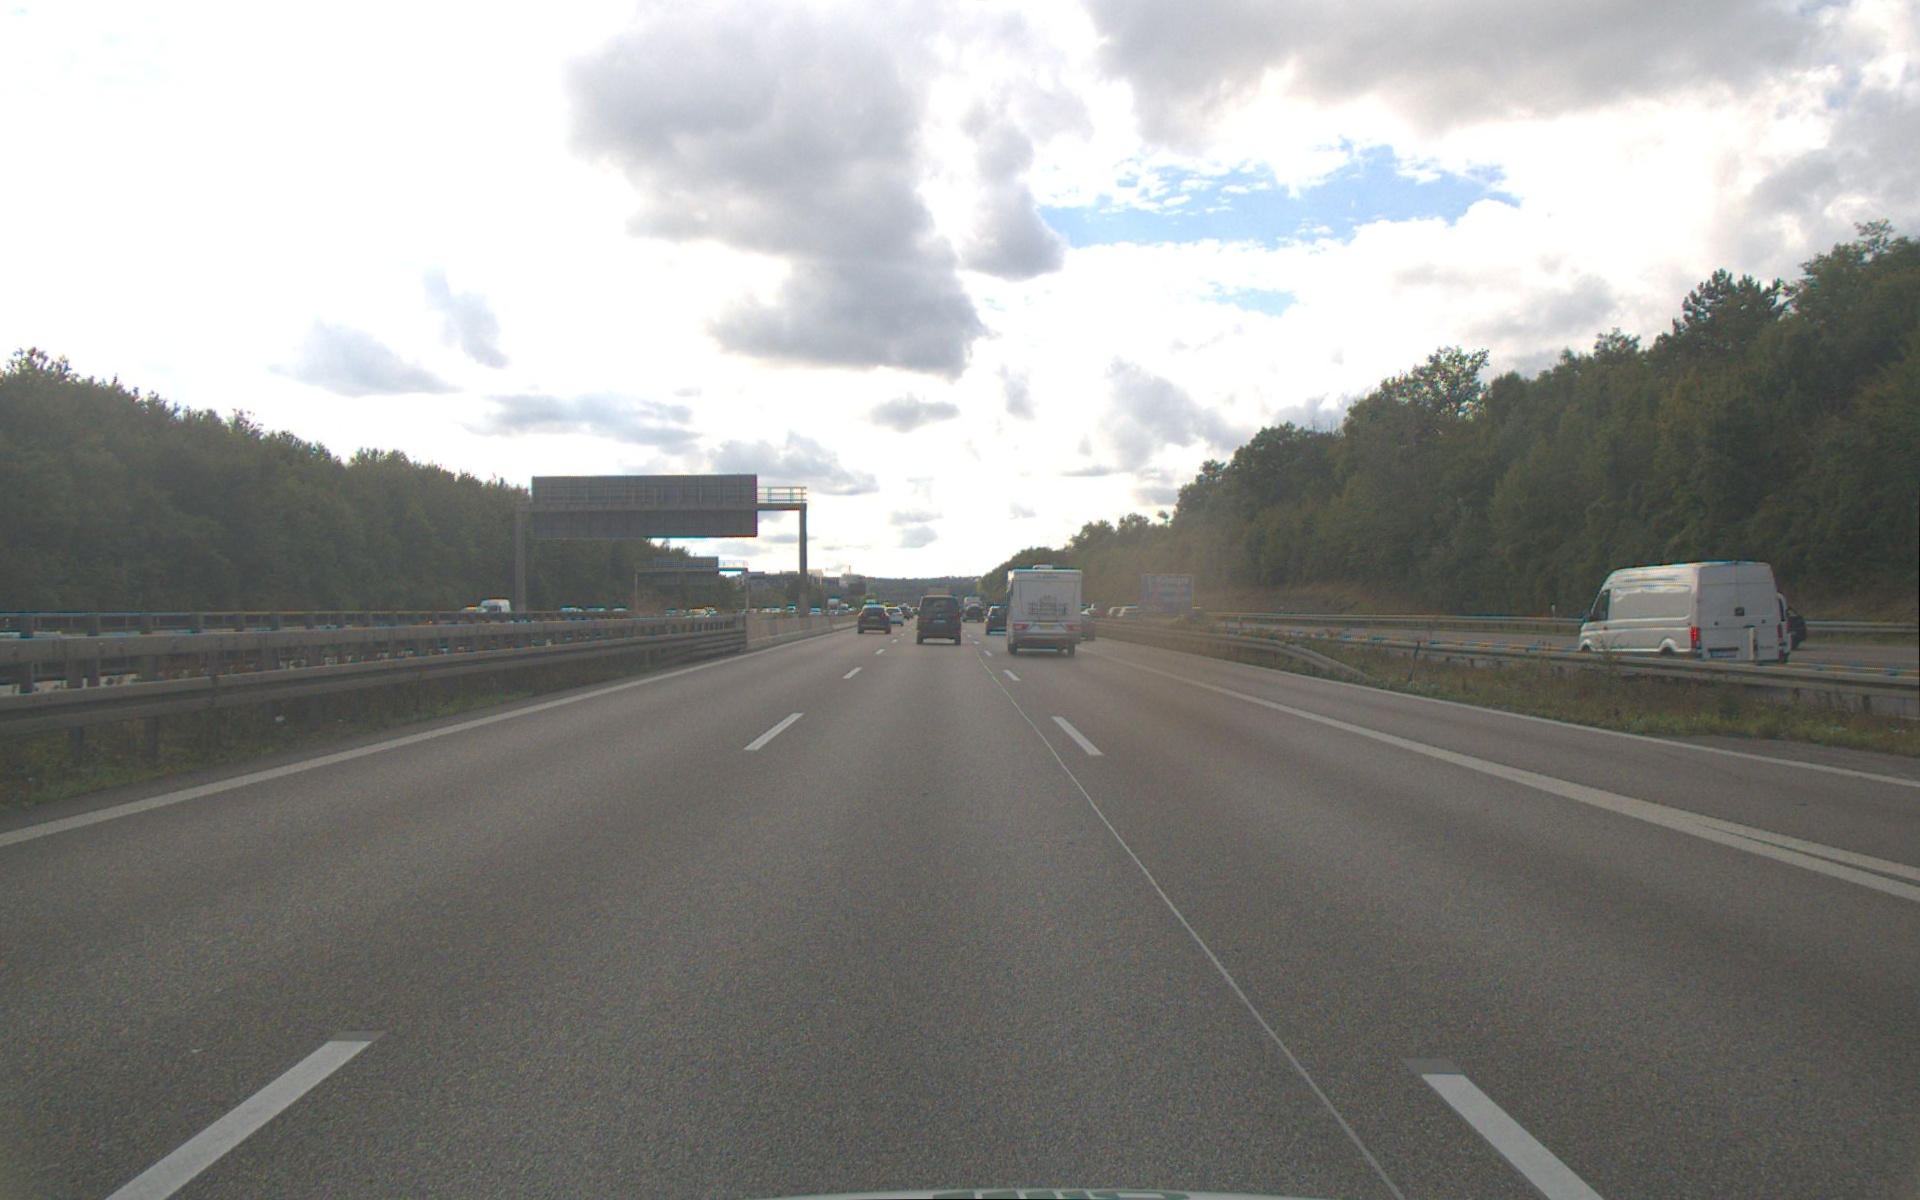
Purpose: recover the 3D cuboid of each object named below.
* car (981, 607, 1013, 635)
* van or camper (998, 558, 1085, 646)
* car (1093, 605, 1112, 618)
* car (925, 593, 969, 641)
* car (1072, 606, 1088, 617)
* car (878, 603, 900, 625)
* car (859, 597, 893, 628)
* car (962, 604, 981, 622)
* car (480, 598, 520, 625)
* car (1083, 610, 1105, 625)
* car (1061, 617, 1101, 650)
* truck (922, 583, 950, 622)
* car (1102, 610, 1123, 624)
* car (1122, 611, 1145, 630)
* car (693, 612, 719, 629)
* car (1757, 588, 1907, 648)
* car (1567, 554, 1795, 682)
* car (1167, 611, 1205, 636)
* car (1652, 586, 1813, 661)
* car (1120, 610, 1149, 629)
[{"bbox_3d":[2.154,1.211,97.187,1.663,1.592,4.112,0,0,-2],"label":"car"},{"bbox_3d":[2.702,0.082,56.661,2.419,2.769,7.659,1,0,-1],"label":"van or camper"},{"bbox_3d":[17.753,1.453,205.953,1.806,1.510,4.523,-2,0,-2],"label":"car"},{"bbox_3d":[-0.574,0.695,69.456,1.817,1.944,4.258,0,0,-1],"label":"car"},{"bbox_3d":[16.959,1.575,233.566,1.806,1.510,4.523,-2,0,-2],"label":"car"},{"bbox_3d":[-5.499,1.062,128.358,1.663,1.639,4.112,0,0,-2],"label":"car"},{"bbox_3d":[-4.771,0.699,94.224,1.835,1.728,4.071,0,-1,-1],"label":"car"},{"bbox_3d":[1.249,1.393,176.180,1.874,1.953,4.029,0,0,-1],"label":"car"},{"bbox_3d":[-42.110,1.056,151.606,1.952,2.356,5.684,-1,0,1],"label":"car"},{"bbox_3d":[14.516,1.855,179.619,1.806,1.510,4.523,-2,0,-2],"label":"car"},{"bbox_3d":[6.126,1.699,84.240,1.663,1.639,3.894,0,0,-2],"label":"car"},{"bbox_3d":[-2.833,0.322,194.884,3.197,4.451,11.023,1,0,-1],"label":"truck"},{"bbox_3d":[17.422,1.958,189.273,1.806,1.510,4.523,-2,0,-2],"label":"car"},{"bbox_3d":[15.032,1.760,143.444,1.509,1.510,3.941,-2,0,-1],"label":"car"},{"bbox_3d":[-20.878,1.654,136.105,1.609,1.338,4.246,-1,0,-1],"label":"car"},{"bbox_3d":[25.788,0.498,49.113,1.806,1.630,4.762,-2,0,-2],"label":"car"},{"bbox_3d":[16.019,0.366,37.275,2.028,2.599,6.741,-1,0,-1],"label":"car"},{"bbox_3d":[14.852,1.508,108.832,1.806,1.510,4.524,-2,0,-1],"label":"car"},{"bbox_3d":[19.547,0.555,42.083,1.806,1.782,4.763,1,0,-1],"label":"car"},{"bbox_3d":[15.138,1.688,143.820,1.806,1.510,4.523,-2,0,-2],"label":"car"}]
